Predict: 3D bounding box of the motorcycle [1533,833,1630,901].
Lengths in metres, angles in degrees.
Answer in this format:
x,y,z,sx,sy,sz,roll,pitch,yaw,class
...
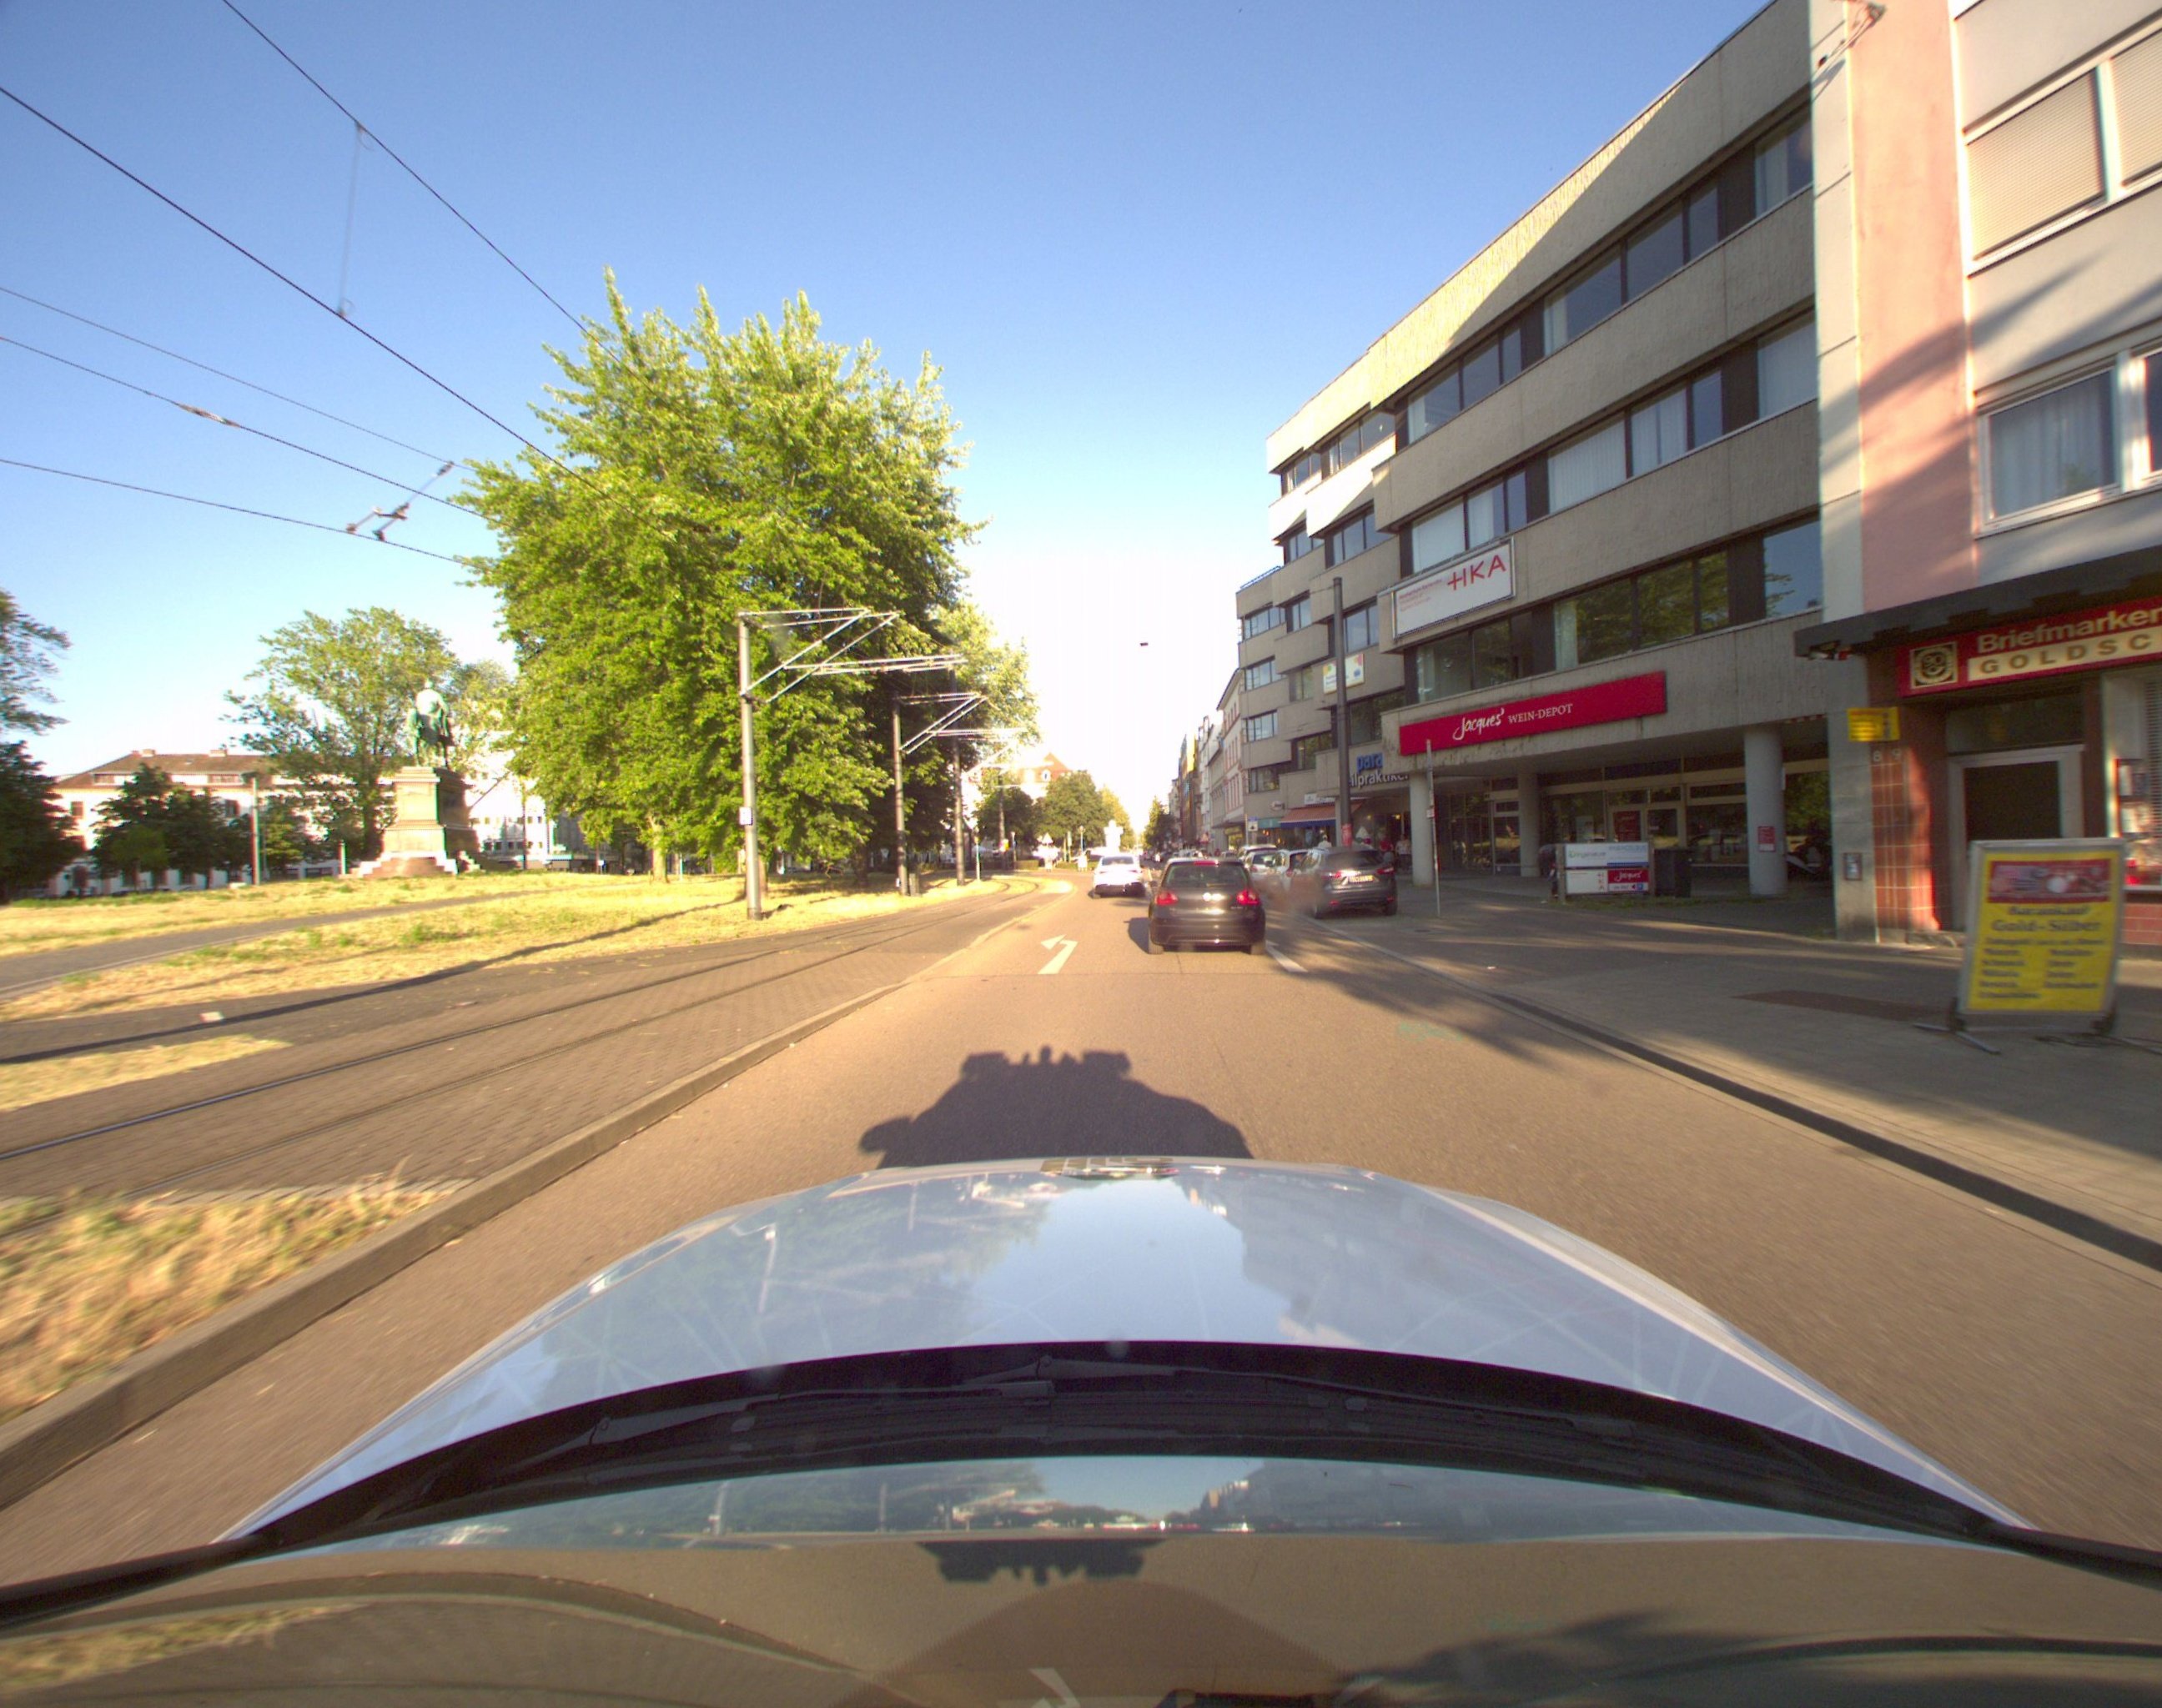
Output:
x,y,z,sx,sy,sz,roll,pitch,yaw,class
10.842,0.272,17.649,1.782,1.331,0.581,-4,0,-9,motorcycle

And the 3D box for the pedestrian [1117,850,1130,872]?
x,y,z,sx,sy,sz,roll,pitch,yaw,class
3.344,0.514,64.252,0.857,1.706,0.940,-1,0,-2,pedestrian

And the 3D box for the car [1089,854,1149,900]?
x,y,z,sx,sy,sz,roll,pitch,yaw,class
1.436,0.762,29.110,1.855,1.441,4.204,-2,0,6,car

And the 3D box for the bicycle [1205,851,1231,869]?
x,y,z,sx,sy,sz,roll,pitch,yaw,class
9.380,0.386,55.890,1.586,1.119,0.616,-4,0,37,bicycle

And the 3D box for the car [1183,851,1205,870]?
x,y,z,sx,sy,sz,roll,pitch,yaw,class
10.631,0.580,76.994,1.727,1.617,3.921,-3,0,4,car

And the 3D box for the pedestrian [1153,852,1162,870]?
x,y,z,sx,sy,sz,roll,pitch,yaw,class
6.492,0.600,69.068,0.733,1.555,0.632,-2,-1,0,pedestrian

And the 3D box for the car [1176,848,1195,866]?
x,y,z,sx,sy,sz,roll,pitch,yaw,class
11.488,0.294,89.640,1.916,1.841,4.023,-3,0,5,car

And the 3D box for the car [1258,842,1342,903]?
x,y,z,sx,sy,sz,roll,pitch,yaw,class
6.424,0.514,24.199,1.601,1.556,3.613,-4,0,3,car

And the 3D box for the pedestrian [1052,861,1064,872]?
x,y,z,sx,sy,sz,roll,pitch,yaw,class
-2.605,1.403,90.779,1.101,1.226,0.854,-1,0,-22,pedestrian

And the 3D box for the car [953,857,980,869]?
x,y,z,sx,sy,sz,roll,pitch,yaw,class
-16.361,1.241,116.205,3.623,1.552,1.651,-2,0,-19,car

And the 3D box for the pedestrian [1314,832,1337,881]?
x,y,z,sx,sy,sz,roll,pitch,yaw,class
9.564,0.101,31.898,0.619,1.858,0.663,-5,-1,5,pedestrian

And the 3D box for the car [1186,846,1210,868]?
x,y,z,sx,sy,sz,roll,pitch,yaw,class
10.306,0.263,71.970,1.727,1.800,3.921,-3,0,4,car

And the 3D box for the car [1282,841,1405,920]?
x,y,z,sx,sy,sz,roll,pitch,yaw,class
6.114,0.564,19.462,1.773,1.556,4.240,-4,0,5,car

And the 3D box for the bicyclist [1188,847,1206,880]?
x,y,z,sx,sy,sz,roll,pitch,yaw,class
5.812,0.484,40.885,0.773,1.618,1.026,-1,0,4,bicyclist

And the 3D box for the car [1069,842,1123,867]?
x,y,z,sx,sy,sz,roll,pitch,yaw,class
1.623,0.101,90.120,5.534,2.594,2.138,-1,-1,-23,car

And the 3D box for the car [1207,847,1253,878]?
x,y,z,sx,sy,sz,roll,pitch,yaw,class
7.907,0.439,43.568,1.657,1.441,3.821,-4,0,-1,car

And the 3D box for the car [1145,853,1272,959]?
x,y,z,sx,sy,sz,roll,pitch,yaw,class
1.952,0.733,13.515,1.739,1.461,4.108,-1,0,4,car

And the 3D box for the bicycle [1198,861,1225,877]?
x,y,z,sx,sy,sz,roll,pitch,yaw,class
9.621,1.079,60.086,1.828,1.045,0.584,-4,0,34,bicycle

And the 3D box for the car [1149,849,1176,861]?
x,y,z,sx,sy,sz,roll,pitch,yaw,class
13.093,0.177,130.834,3.986,1.772,1.994,-2,0,-9,car

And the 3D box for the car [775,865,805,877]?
x,y,z,sx,sy,sz,roll,pitch,yaw,class
-38.065,2.210,106.682,3.623,1.552,1.651,-2,0,-19,car

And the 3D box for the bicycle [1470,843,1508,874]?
x,y,z,sx,sy,sz,roll,pitch,yaw,class
15.234,0.164,30.390,1.767,1.072,0.478,-4,0,-36,bicycle

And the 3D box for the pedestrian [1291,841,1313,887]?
x,y,z,sx,sy,sz,roll,pitch,yaw,class
8.700,0.394,32.048,0.576,1.760,0.663,-5,-1,5,pedestrian

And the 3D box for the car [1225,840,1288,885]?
x,y,z,sx,sy,sz,roll,pitch,yaw,class
7.677,0.350,35.970,1.860,1.713,4.507,-4,0,2,car

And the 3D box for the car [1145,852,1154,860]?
x,y,z,sx,sy,sz,roll,pitch,yaw,class
16.030,0.457,189.766,1.898,1.552,4.004,-2,0,3,car

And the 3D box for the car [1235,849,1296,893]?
x,y,z,sx,sy,sz,roll,pitch,yaw,class
6.804,0.587,30.316,1.654,1.441,3.861,-4,0,5,car

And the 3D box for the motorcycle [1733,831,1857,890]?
x,y,z,sx,sy,sz,roll,pitch,yaw,class
15.504,0.148,17.726,1.999,1.204,0.532,-2,0,12,motorcycle

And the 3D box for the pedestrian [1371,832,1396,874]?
x,y,z,sx,sy,sz,roll,pitch,yaw,class
12.885,-0.062,34.742,0.694,1.727,1.034,-3,0,5,pedestrian

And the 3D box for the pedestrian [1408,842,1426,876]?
x,y,z,sx,sy,sz,roll,pitch,yaw,class
16.627,0.230,40.335,0.599,1.649,0.518,-1,0,-20,pedestrian

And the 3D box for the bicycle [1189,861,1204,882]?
x,y,z,sx,sy,sz,roll,pitch,yaw,class
5.797,0.874,40.912,0.576,0.987,1.937,-1,0,4,bicycle

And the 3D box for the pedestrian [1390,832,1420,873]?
x,y,z,sx,sy,sz,roll,pitch,yaw,class
13.729,-0.074,34.540,0.984,1.673,0.642,-3,0,5,pedestrian

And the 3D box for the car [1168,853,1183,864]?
x,y,z,sx,sy,sz,roll,pitch,yaw,class
13.407,0.618,115.920,1.745,1.510,3.548,-3,0,3,car

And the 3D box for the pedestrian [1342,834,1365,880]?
x,y,z,sx,sy,sz,roll,pitch,yaw,class
10.633,0.117,31.792,0.619,1.740,0.663,-5,-1,5,pedestrian
